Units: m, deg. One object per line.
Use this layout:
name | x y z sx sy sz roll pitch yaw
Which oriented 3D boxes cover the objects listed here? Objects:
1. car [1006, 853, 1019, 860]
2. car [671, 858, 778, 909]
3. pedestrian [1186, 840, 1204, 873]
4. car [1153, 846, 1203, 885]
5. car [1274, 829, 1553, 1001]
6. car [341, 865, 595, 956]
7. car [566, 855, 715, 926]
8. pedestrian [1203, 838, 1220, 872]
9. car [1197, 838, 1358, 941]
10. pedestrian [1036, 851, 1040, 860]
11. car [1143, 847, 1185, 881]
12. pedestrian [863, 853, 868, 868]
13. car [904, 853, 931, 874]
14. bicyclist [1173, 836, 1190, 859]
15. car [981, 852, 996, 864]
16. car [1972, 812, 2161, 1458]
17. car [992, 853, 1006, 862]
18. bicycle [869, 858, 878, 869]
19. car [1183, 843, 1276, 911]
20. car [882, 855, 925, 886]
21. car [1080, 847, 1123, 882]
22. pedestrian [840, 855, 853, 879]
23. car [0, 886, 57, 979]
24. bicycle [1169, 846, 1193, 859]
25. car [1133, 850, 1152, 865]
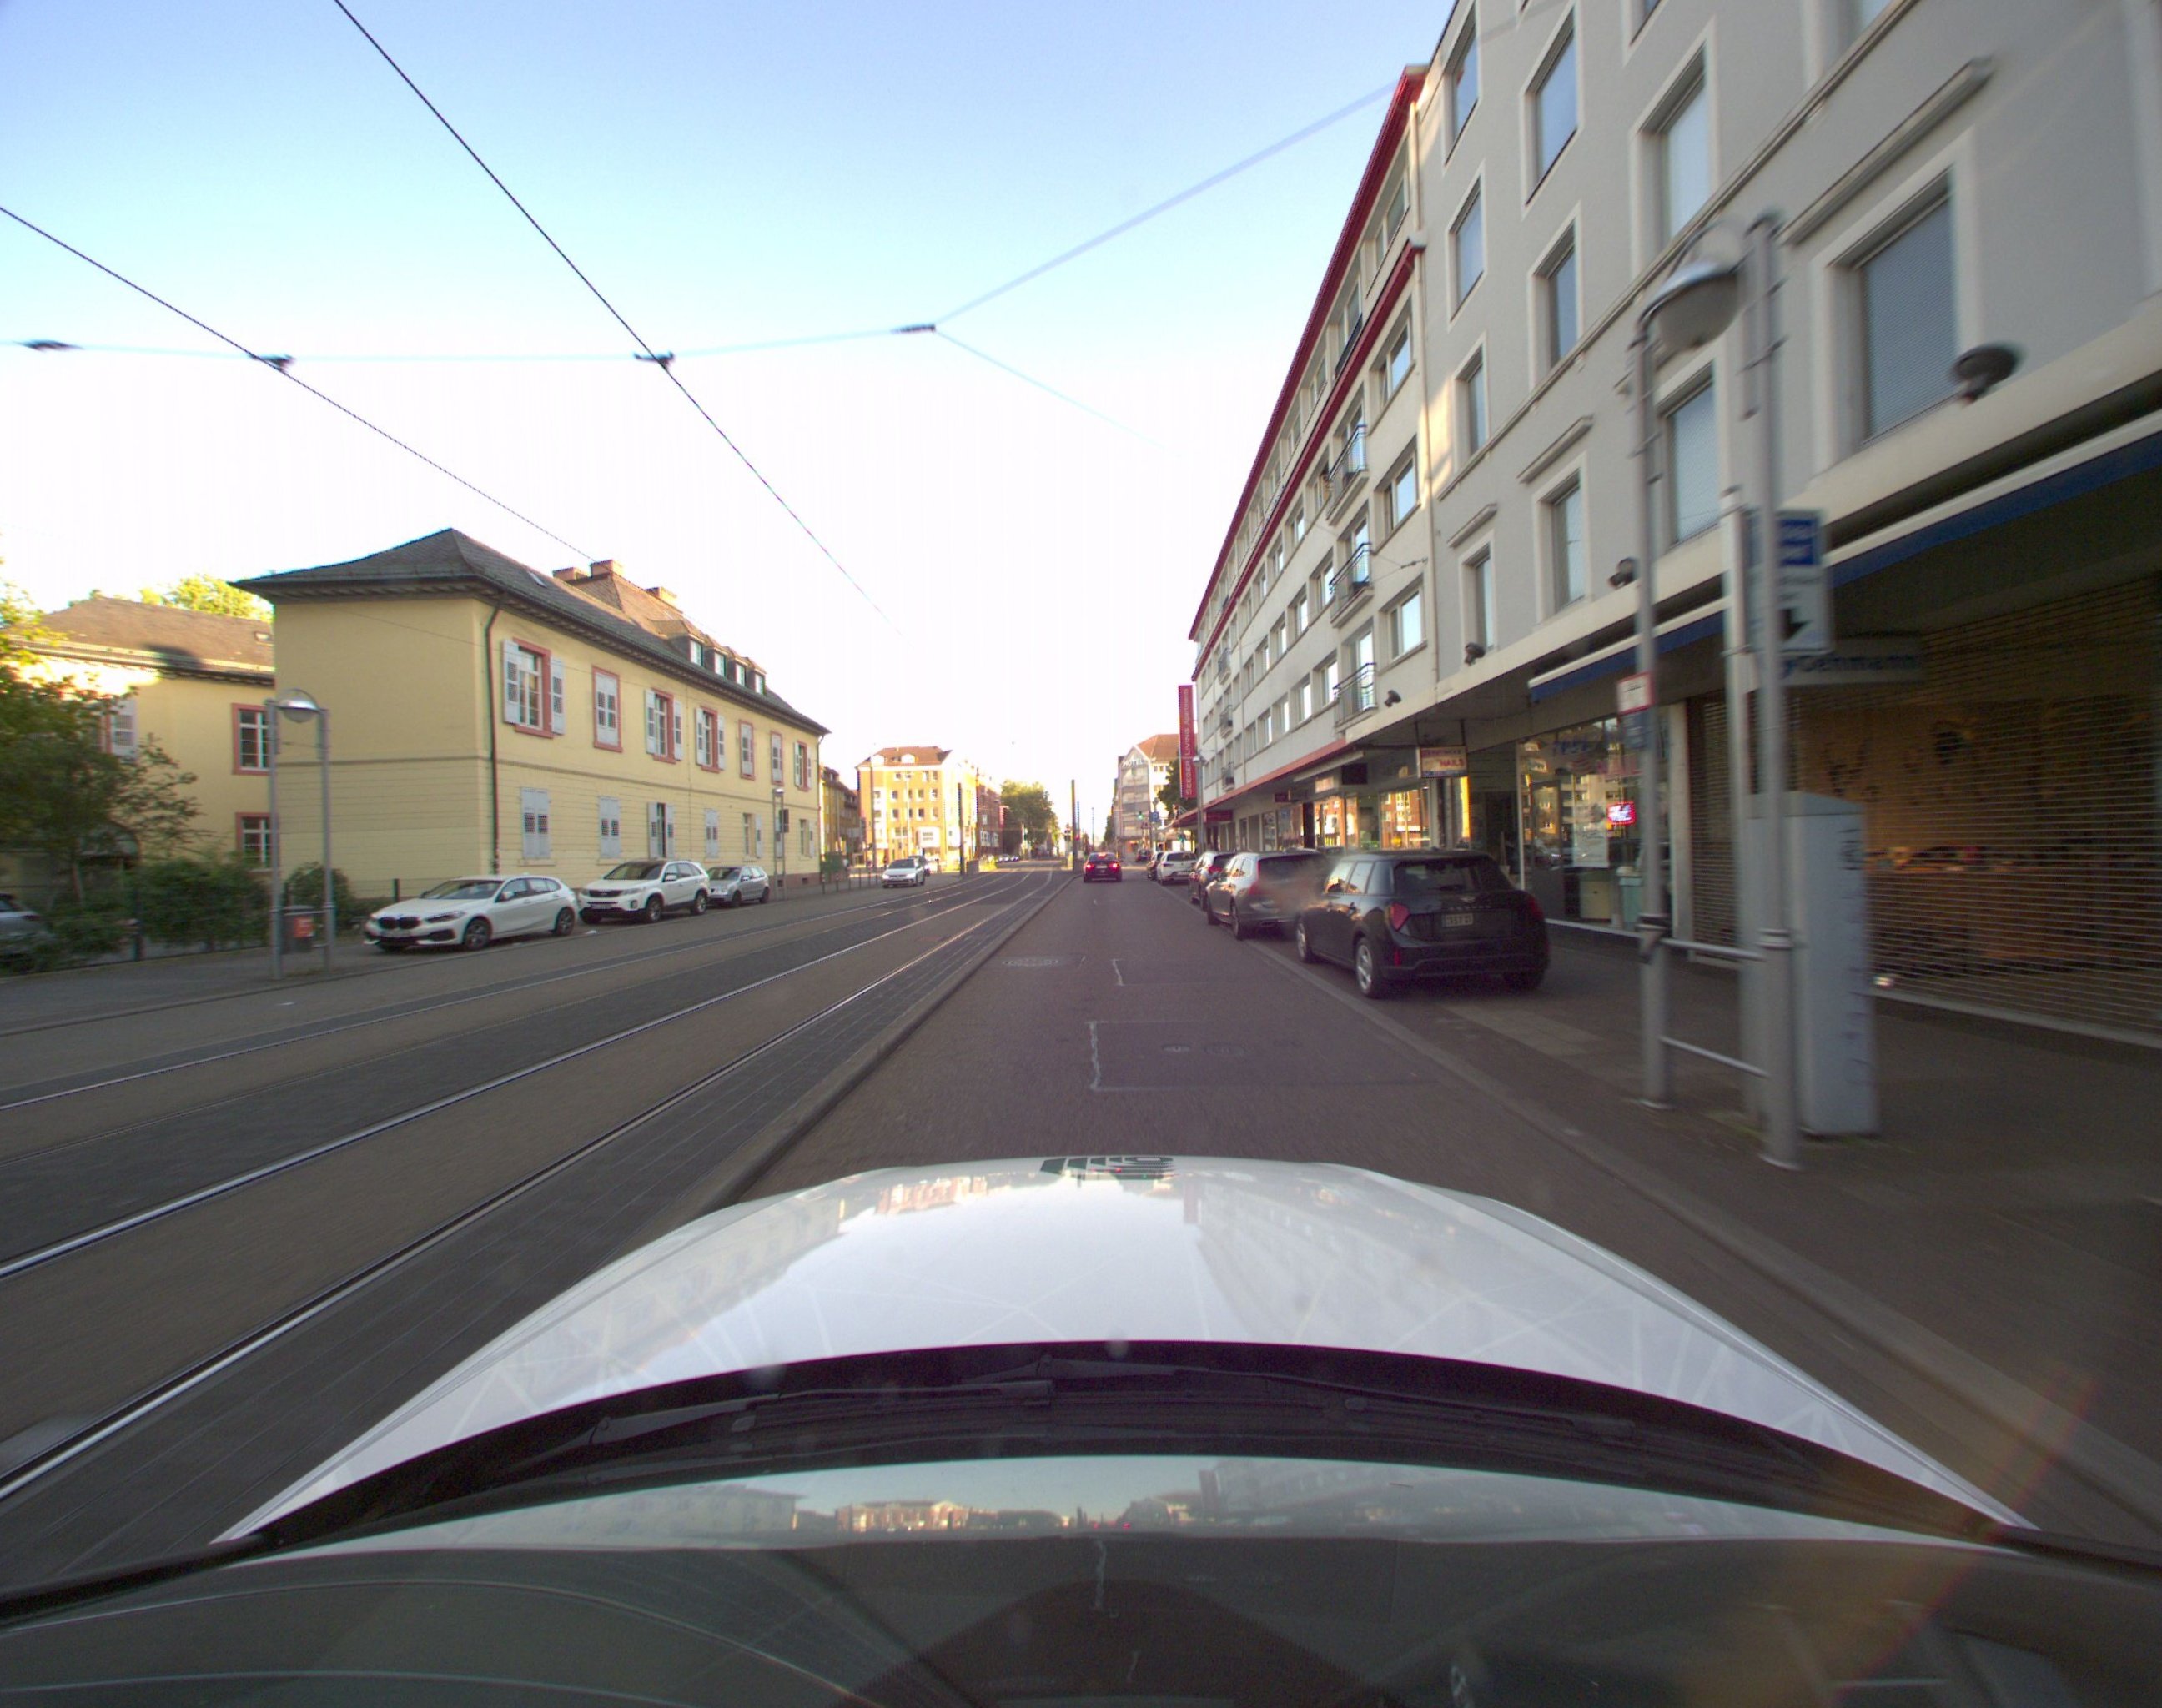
car | -14.472 0.500 171.764 1.659 1.448 4.214 -2 0 10
car | -12.476 0.974 28.818 1.805 1.617 4.217 0 1 2
pedestrian | 6.125 0.156 43.822 0.824 1.718 0.843 -3 0 1
car | 4.193 0.449 35.677 1.778 1.512 4.053 -3 0 2
car | 3.565 0.553 9.574 1.679 1.512 4.037 -3 0 2
car | -12.682 1.080 17.299 1.805 1.512 4.436 -2 0 3
car | -12.399 0.942 23.287 1.807 1.785 4.496 1 0 -1
pedestrian | 6.855 0.052 42.849 0.726 1.741 0.863 -3 0 2
car | 3.386 0.540 15.009 1.784 1.512 4.712 -3 0 0
pedestrian | -9.265 0.270 175.359 0.985 2.013 0.726 0 0 0
car | 4.130 0.475 40.974 1.728 1.512 4.688 -3 0 2
pedestrian | -26.869 0.848 101.681 0.501 1.868 0.562 0 0 -4
car | -12.245 0.689 61.125 1.734 1.512 4.024 -2 0 -8
bicyclist | 8.647 -0.587 69.983 0.844 1.917 1.103 -2 0 -36
car | -15.335 0.658 135.838 1.988 1.901 4.809 -2 0 -1
car | 3.302 0.633 0.166 1.714 1.512 4.169 -3 0 2
car | -14.721 0.623 146.686 1.988 1.585 4.585 -2 0 -1
bicycle | -26.079 1.182 102.396 0.616 1.325 2.014 0 0 -3
car | 3.792 0.534 21.435 1.728 1.512 4.305 -3 0 2
car | -9.370 0.848 43.312 1.804 1.512 4.025 -2 0 -7
car | 1.046 0.484 41.011 1.986 1.585 4.001 -2 0 1
pedestrian | -15.857 0.876 55.065 0.734 1.584 0.948 -2 0 -21
car | -19.297 1.339 12.746 3.977 1.467 1.844 -2 0 -3
bicycle | 8.609 -0.111 70.033 0.844 1.020 2.055 -2 0 -36
car | 7.154 0.381 94.789 1.986 1.552 4.002 -2 0 2
